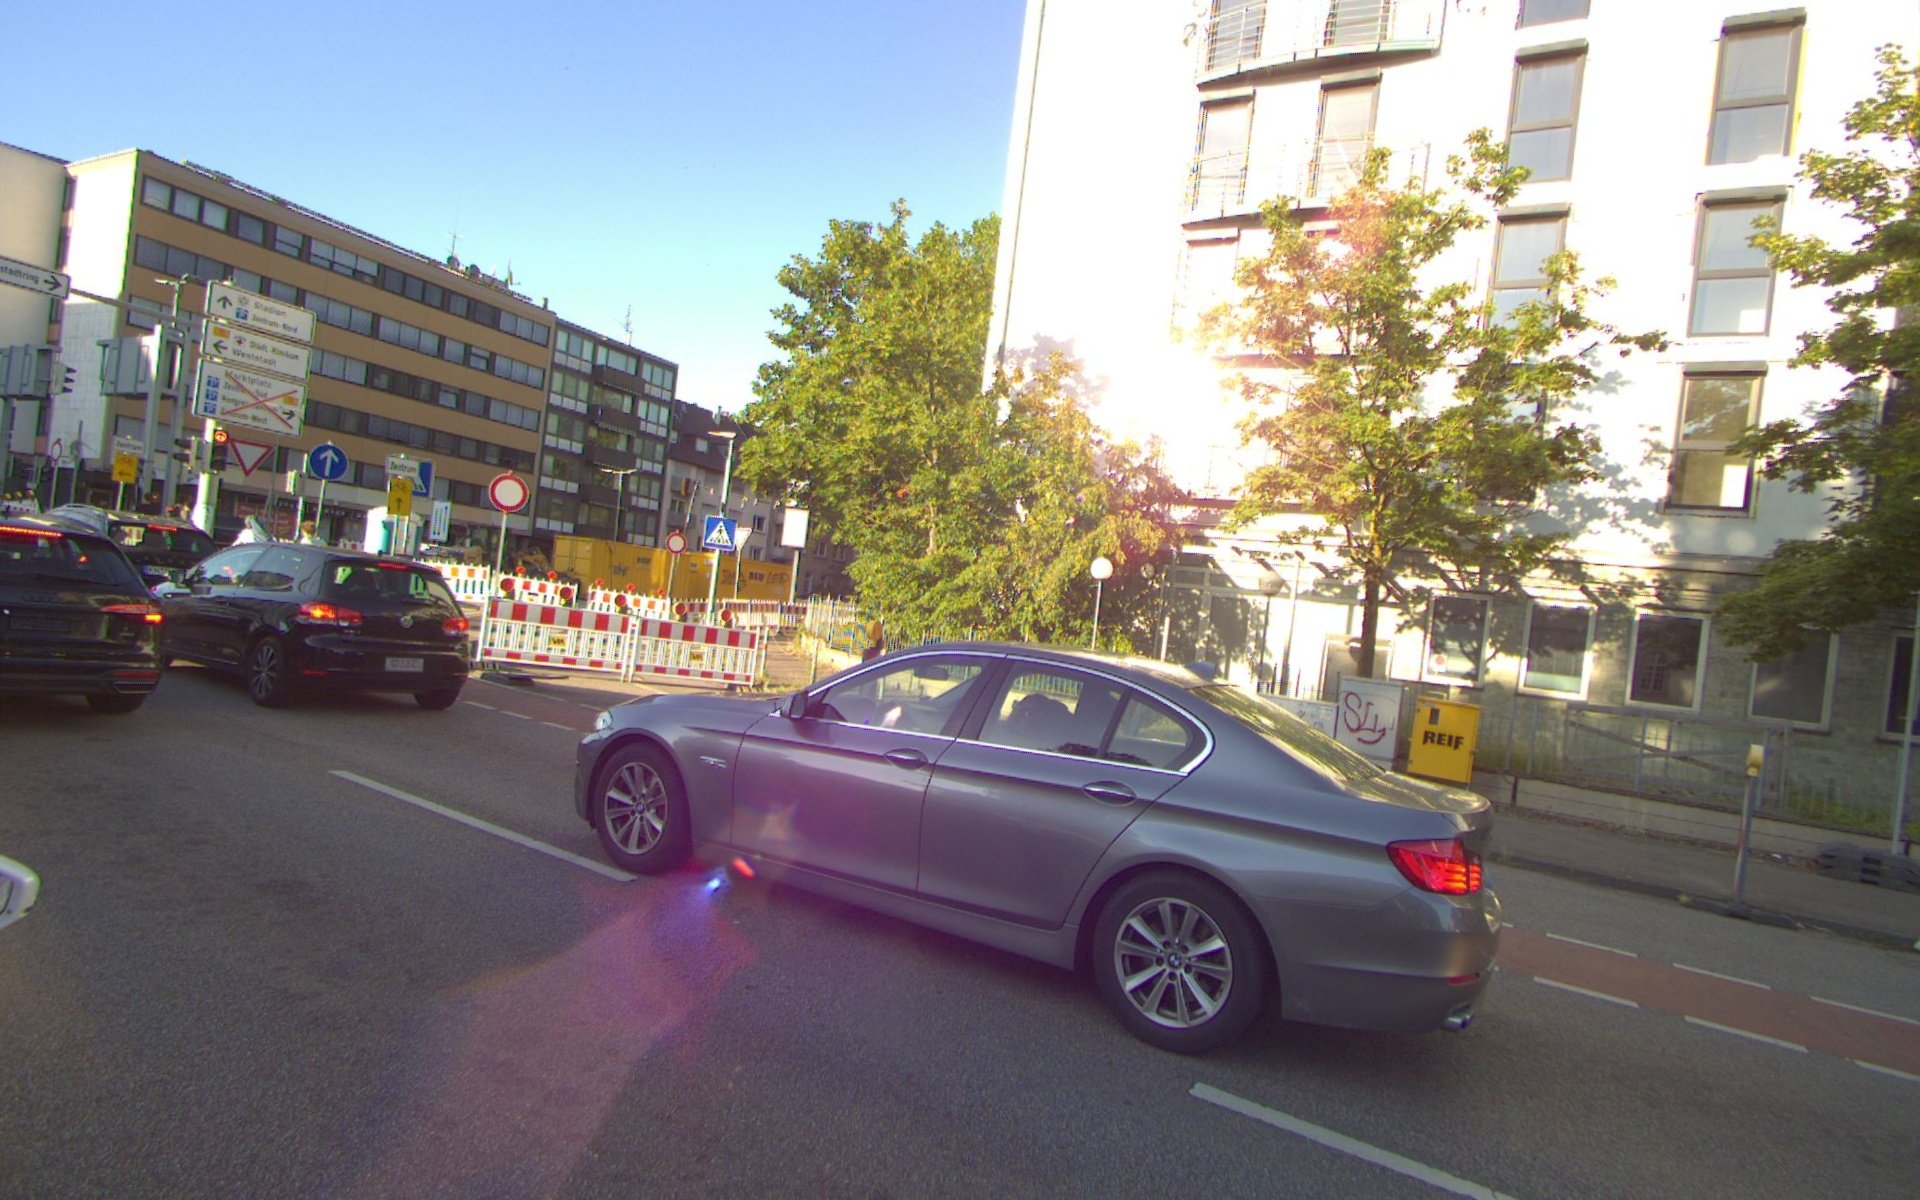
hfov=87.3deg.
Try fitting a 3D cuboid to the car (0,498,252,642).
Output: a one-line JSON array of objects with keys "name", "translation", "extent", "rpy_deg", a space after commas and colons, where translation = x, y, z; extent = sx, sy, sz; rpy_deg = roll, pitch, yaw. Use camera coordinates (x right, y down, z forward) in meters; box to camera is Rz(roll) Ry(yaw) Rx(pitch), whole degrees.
[{"name": "car", "translation": [-11.131, -0.413, 13.393], "extent": [3.250, 1.466, 1.508], "rpy_deg": [7, -2, 32]}]

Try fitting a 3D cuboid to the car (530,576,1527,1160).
[{"name": "car", "translation": [0.170, 0.912, 5.142], "extent": [4.587, 1.466, 1.819], "rpy_deg": [7, -1, 29]}]

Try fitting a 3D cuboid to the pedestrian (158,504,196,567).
[{"name": "pedestrian", "translation": [-22.104, -1.816, 28.392], "extent": [0.447, 1.691, 0.602], "rpy_deg": [7, 0, 33]}]

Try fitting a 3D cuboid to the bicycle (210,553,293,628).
[{"name": "bicycle", "translation": [-11.482, -0.172, 16.281], "extent": [1.825, 1.020, 0.337], "rpy_deg": [7, 0, 32]}]

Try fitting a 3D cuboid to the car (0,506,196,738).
[{"name": "car", "translation": [-7.665, -0.044, 7.467], "extent": [4.144, 1.437, 1.685], "rpy_deg": [7, -2, 32]}]

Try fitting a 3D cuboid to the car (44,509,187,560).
[{"name": "car", "translation": [-32.698, -2.517, 39.078], "extent": [1.696, 1.370, 3.826], "rpy_deg": [7, -1, 26]}]

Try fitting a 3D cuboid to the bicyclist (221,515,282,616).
[{"name": "bicyclist", "translation": [-11.501, -0.566, 16.326], "extent": [0.713, 1.544, 0.441], "rpy_deg": [7, 0, 32]}]

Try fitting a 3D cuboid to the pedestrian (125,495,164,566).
[{"name": "pedestrian", "translation": [-22.437, -1.920, 27.671], "extent": [0.479, 1.857, 0.570], "rpy_deg": [7, 0, 34]}]

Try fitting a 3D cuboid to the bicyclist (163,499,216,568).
[{"name": "bicyclist", "translation": [-19.472, -1.677, 25.436], "extent": [0.800, 1.608, 0.619], "rpy_deg": [8, 0, 29]}]

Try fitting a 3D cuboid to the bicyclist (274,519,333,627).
[{"name": "bicyclist", "translation": [-9.809, -0.402, 15.038], "extent": [0.474, 1.544, 0.441], "rpy_deg": [7, 0, 31]}]

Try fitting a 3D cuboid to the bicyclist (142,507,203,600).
[{"name": "bicyclist", "translation": [-13.957, -0.821, 17.824], "extent": [0.713, 1.544, 0.514], "rpy_deg": [7, 0, 32]}]

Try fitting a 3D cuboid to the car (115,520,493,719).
[{"name": "car", "translation": [-6.616, 0.169, 10.071], "extent": [3.683, 1.466, 1.637], "rpy_deg": [7, -2, 32]}]
